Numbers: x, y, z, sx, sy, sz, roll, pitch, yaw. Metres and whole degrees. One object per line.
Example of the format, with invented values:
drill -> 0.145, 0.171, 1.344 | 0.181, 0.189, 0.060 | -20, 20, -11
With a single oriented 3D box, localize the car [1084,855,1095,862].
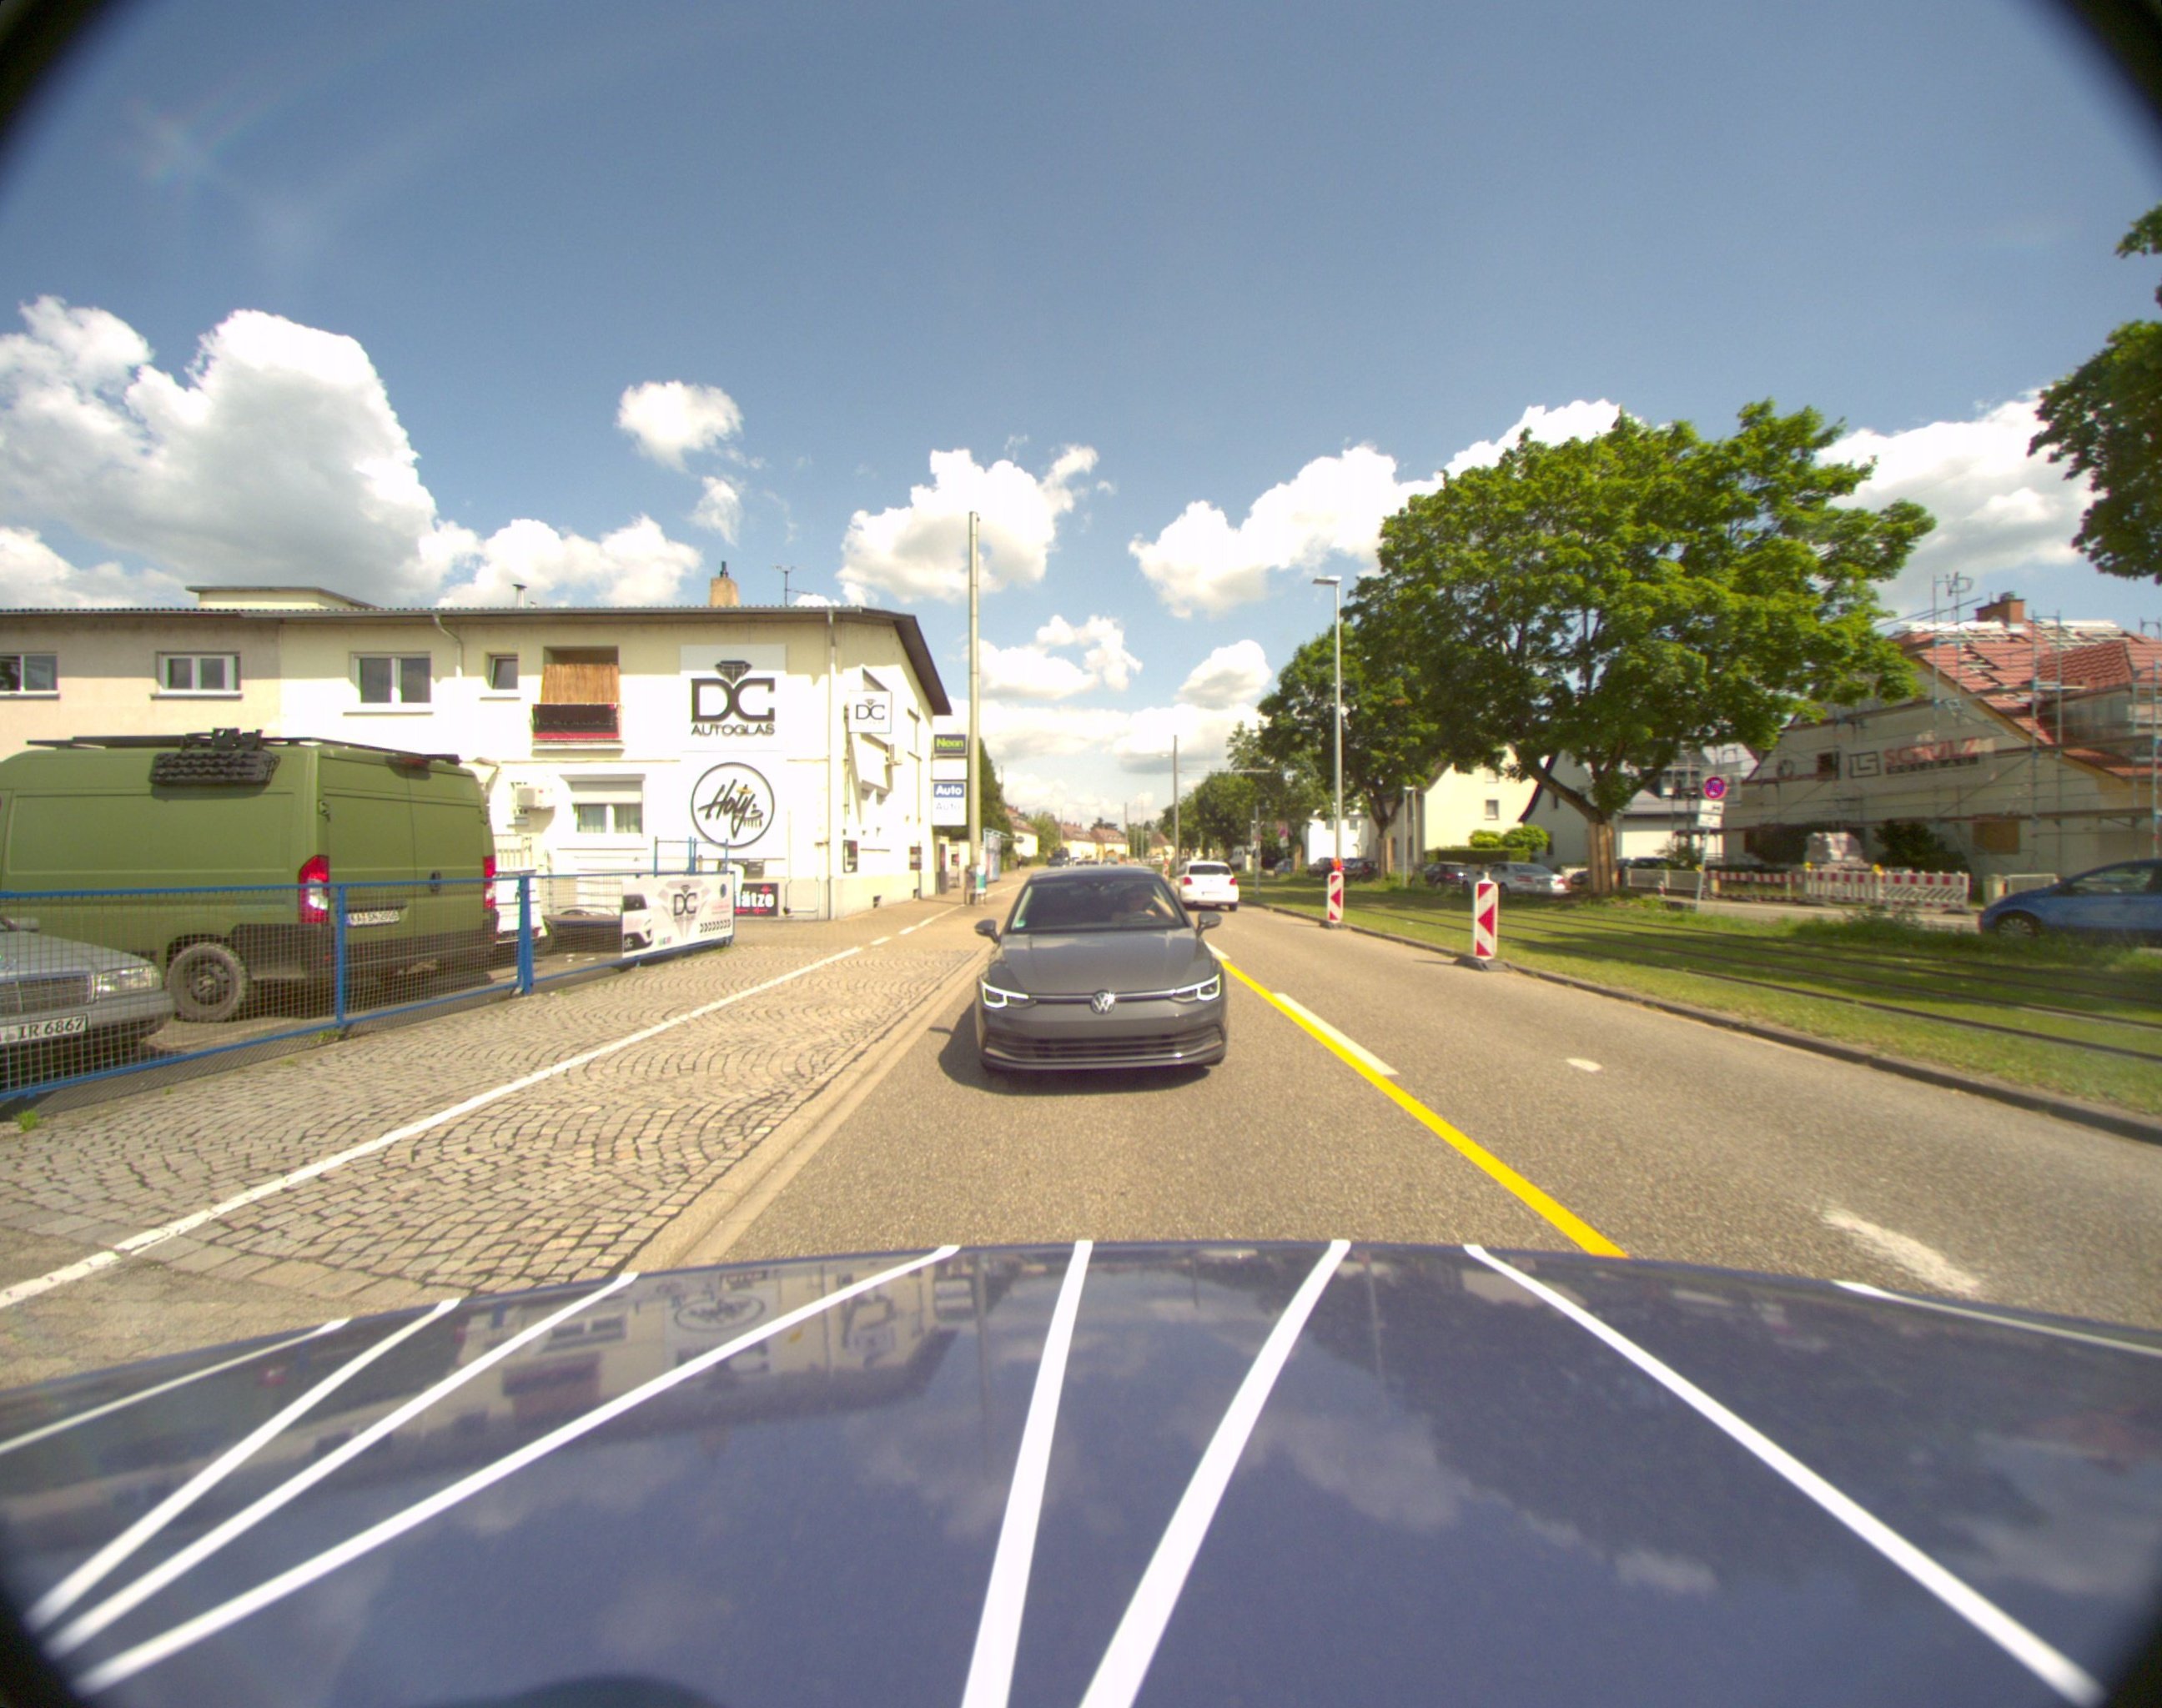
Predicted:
car -> 1.823, 0.978, 155.296 | 1.718, 1.470, 4.011 | 0, 0, 8

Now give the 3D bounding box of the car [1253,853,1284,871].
car -> 17.588, 0.749, 71.489 | 1.755, 1.602, 4.606 | 0, 0, 0

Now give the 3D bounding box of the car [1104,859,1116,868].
car -> 4.636, 1.434, 121.256 | 1.755, 1.405, 4.262 | 0, 0, 3

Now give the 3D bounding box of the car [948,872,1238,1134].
car -> 0.100, 0.934, 6.523 | 1.719, 1.470, 4.009 | 0, 0, 1

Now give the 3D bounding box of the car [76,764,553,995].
car -> -9.454, 0.299, 9.647 | 4.209, 2.653, 1.803 | 0, 0, 0

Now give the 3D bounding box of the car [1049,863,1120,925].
car -> 0.105, 1.006, 20.537 | 1.719, 1.470, 4.009 | 0, 0, 1

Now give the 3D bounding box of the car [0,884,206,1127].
car -> -8.436, 0.915, 4.805 | 4.206, 1.388, 1.804 | 0, 0, 8

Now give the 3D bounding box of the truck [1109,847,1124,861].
truck -> 9.417, 0.009, 201.129 | 2.590, 3.431, 8.585 | 0, 0, 11

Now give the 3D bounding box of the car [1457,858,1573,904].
car -> 16.390, 0.960, 29.001 | 1.755, 1.602, 4.606 | 0, 0, 0

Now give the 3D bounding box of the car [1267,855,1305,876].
car -> 16.498, 0.910, 61.350 | 1.755, 1.602, 4.606 | 0, 0, 0

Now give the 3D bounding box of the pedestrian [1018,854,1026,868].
pedestrian -> -6.575, 0.746, 84.896 | 0.816, 1.577, 0.918 | 0, 0, 1

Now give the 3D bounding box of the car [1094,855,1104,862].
car -> 4.115, 0.984, 172.730 | 1.718, 1.470, 4.011 | 0, 0, 8

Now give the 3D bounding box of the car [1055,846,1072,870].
car -> -1.913, 0.404, 82.843 | 1.720, 2.526, 5.794 | 0, 0, 0

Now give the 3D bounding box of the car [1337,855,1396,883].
car -> 16.903, 0.845, 45.261 | 1.755, 1.602, 4.606 | 0, 0, 0

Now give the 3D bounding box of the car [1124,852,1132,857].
car -> 13.544, 0.222, 218.471 | 1.718, 1.470, 4.013 | 0, 0, 13

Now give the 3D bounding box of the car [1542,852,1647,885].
car -> 25.514, 0.715, 37.826 | 4.047, 1.602, 1.757 | 0, 0, 1

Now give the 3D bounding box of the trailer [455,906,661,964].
trailer -> -8.061, 1.235, 11.831 | 2.329, 0.762, 1.269 | 0, 0, 2

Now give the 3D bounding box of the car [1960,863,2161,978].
car -> 16.216, 0.955, 11.226 | 1.755, 1.602, 4.050 | 0, 0, 0

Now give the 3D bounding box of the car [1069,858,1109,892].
car -> 0.381, 0.955, 36.155 | 1.787, 1.470, 4.009 | 0, 0, 1

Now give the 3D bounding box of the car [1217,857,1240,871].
car -> 16.937, 1.145, 87.264 | 1.755, 1.602, 4.606 | 0, 0, 0

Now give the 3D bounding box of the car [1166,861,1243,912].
car -> 3.685, 0.929, 23.378 | 1.719, 1.405, 4.262 | 0, 0, 1

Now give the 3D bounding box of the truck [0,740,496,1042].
truck -> -8.622, 0.326, 7.561 | 3.997, 2.592, 2.069 | 0, 0, 1

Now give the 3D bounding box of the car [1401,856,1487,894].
car -> 16.592, 0.912, 35.023 | 1.755, 1.602, 4.606 | 0, 0, 0

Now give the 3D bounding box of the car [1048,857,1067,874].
car -> -2.156, 1.060, 70.981 | 1.720, 1.470, 4.009 | 0, 0, 0

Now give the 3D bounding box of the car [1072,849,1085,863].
car -> -0.421, 0.390, 136.317 | 1.719, 2.360, 5.211 | 0, 0, 5

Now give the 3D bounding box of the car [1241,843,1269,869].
car -> 17.611, 0.190, 77.074 | 1.755, 2.601, 4.606 | 0, 0, 0

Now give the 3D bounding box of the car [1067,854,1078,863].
car -> -1.358, 0.730, 122.953 | 1.720, 1.470, 4.009 | 0, 0, 0

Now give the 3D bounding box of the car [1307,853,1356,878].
car -> 16.682, 0.758, 50.901 | 1.755, 1.602, 4.606 | 0, 0, 0
